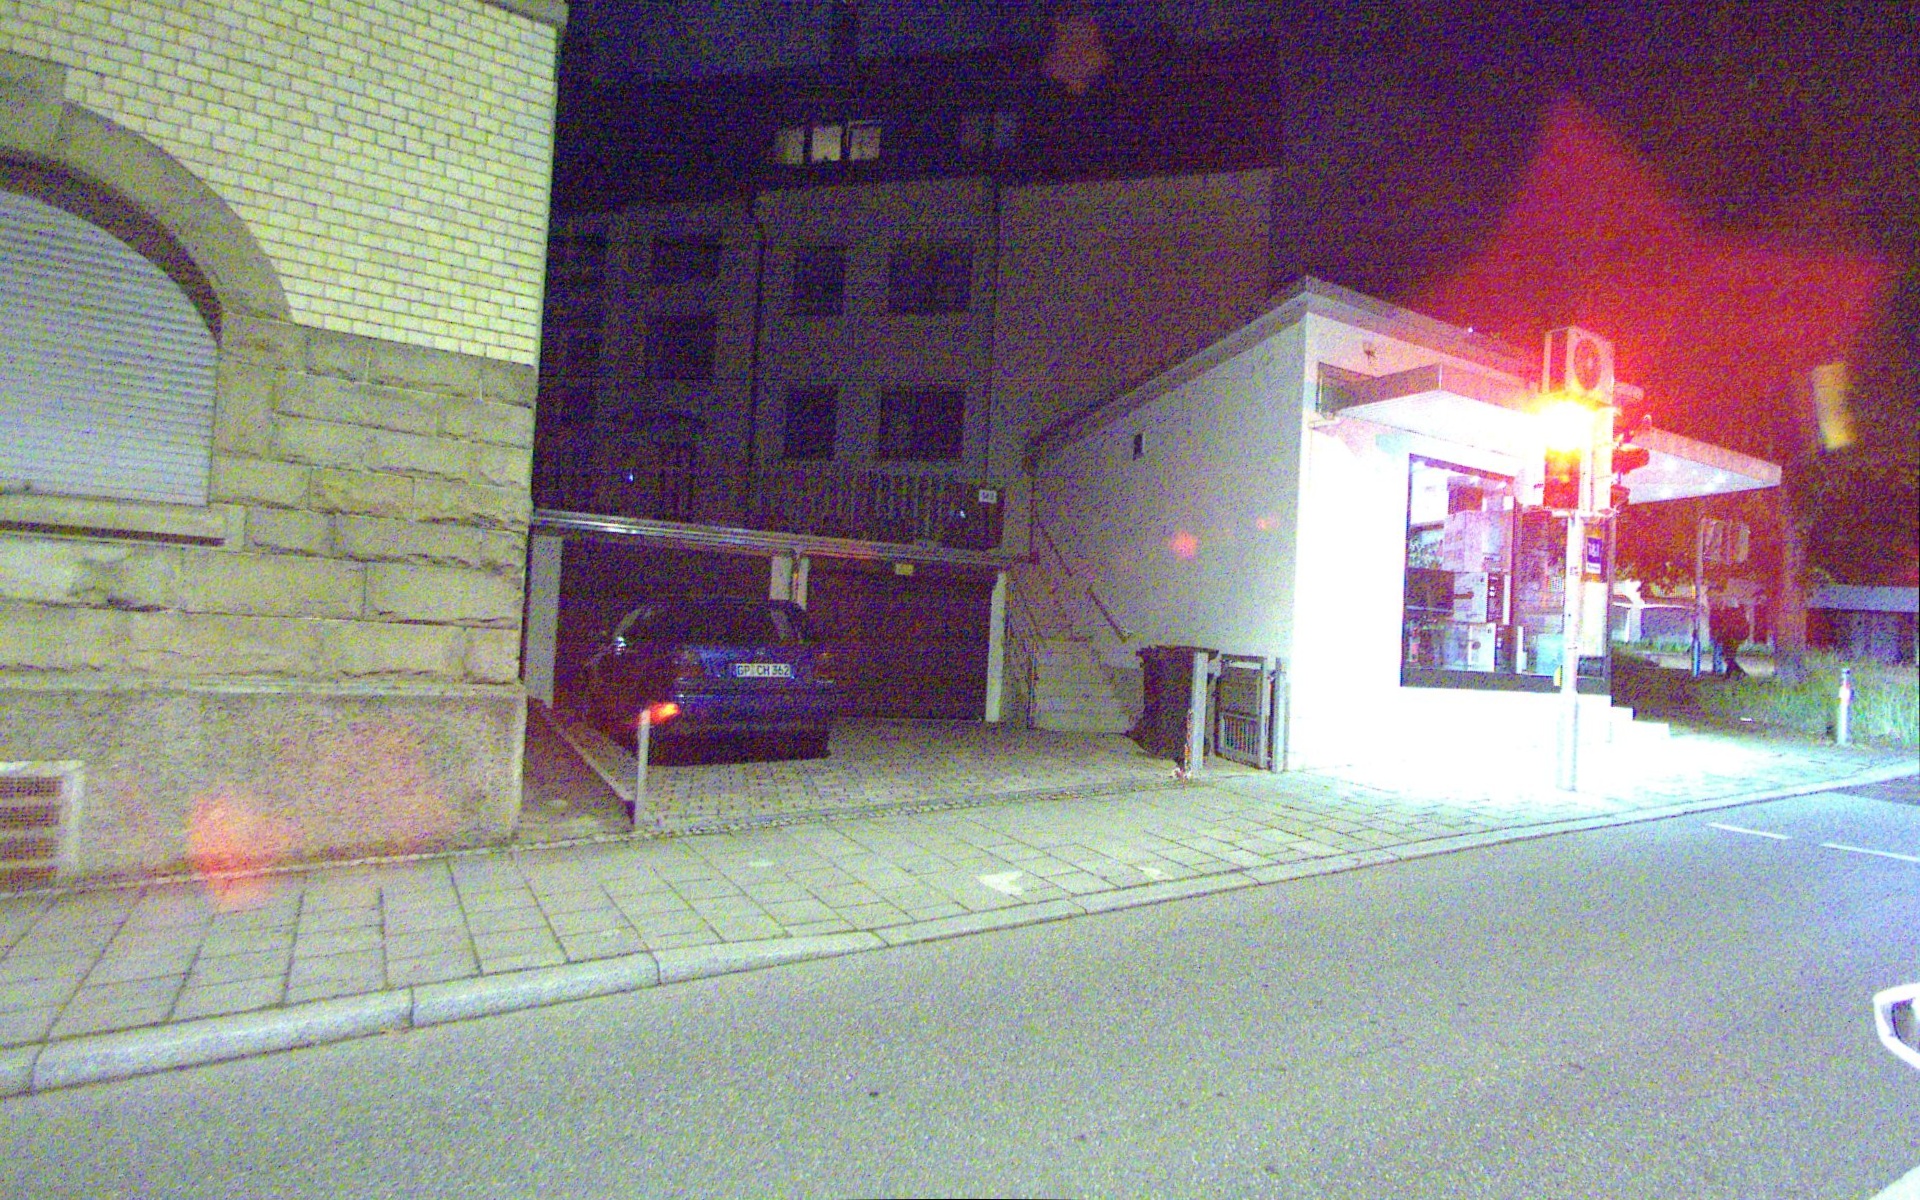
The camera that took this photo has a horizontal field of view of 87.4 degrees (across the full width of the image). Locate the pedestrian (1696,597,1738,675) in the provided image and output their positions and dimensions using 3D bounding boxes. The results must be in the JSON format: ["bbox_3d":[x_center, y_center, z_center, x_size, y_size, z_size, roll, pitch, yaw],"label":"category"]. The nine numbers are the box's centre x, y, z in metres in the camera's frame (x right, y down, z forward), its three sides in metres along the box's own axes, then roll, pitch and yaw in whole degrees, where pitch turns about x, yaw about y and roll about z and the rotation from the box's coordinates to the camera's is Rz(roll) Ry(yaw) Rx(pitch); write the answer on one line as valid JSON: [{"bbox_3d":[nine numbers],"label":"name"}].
[{"bbox_3d":[17.357,0.810,23.042,0.537,1.754,0.567,2,0,-30],"label":"pedestrian"}]

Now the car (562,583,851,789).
[{"bbox_3d":[-2.573,0.645,9.541,1.700,1.460,3.631,2,1,-30],"label":"car"}]

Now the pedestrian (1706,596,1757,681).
[{"bbox_3d":[16.777,0.831,21.851,0.729,1.801,0.567,2,2,-30],"label":"pedestrian"}]
